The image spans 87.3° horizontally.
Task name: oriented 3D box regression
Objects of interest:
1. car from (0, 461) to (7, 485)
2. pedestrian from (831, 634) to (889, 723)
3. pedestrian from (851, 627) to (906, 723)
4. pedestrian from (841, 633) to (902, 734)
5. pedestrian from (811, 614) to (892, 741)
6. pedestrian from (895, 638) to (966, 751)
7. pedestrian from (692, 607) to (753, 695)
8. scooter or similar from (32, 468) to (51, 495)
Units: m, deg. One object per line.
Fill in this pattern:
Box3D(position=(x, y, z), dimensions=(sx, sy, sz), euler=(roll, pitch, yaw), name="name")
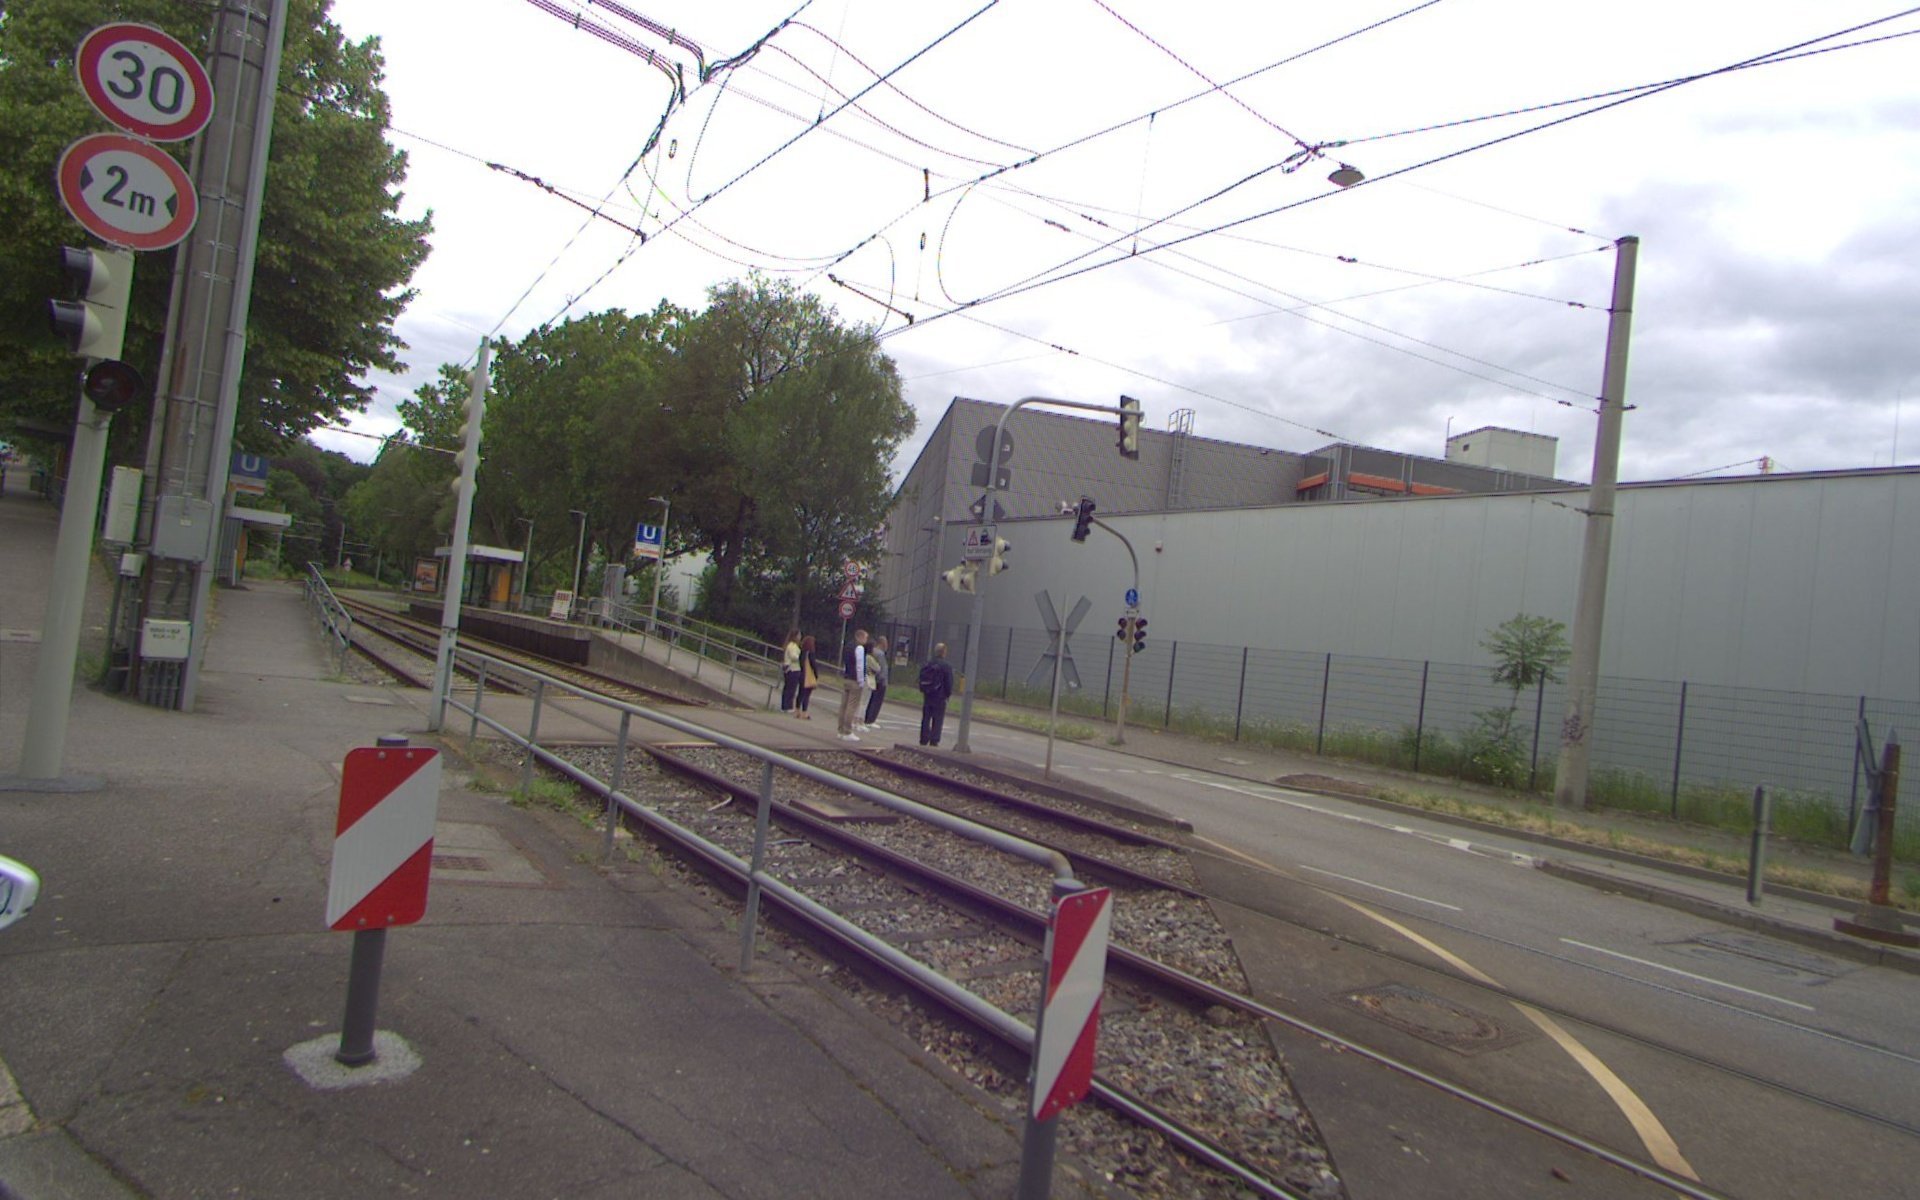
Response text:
Box3D(position=(-95.456, -12.684, 99.109), dimensions=(1.992, 2.167, 3.952), euler=(13, -6, -44), name="car")
Box3D(position=(-2.040, 1.582, 20.428), dimensions=(0.676, 1.682, 0.732), euler=(11, -5, -32), name="pedestrian")
Box3D(position=(-1.609, 1.460, 19.790), dimensions=(0.546, 1.776, 0.732), euler=(11, -4, -31), name="pedestrian")
Box3D(position=(-1.597, 1.491, 18.082), dimensions=(0.727, 1.682, 0.680), euler=(10, -4, -17), name="pedestrian")
Box3D(position=(-1.676, 1.204, 15.576), dimensions=(0.660, 1.841, 0.804), euler=(6, -2, 34), name="pedestrian")
Box3D(position=(-0.480, 1.493, 16.092), dimensions=(0.727, 1.682, 0.680), euler=(10, -4, -18), name="pedestrian")
Box3D(position=(-4.924, 1.049, 20.834), dimensions=(0.673, 1.682, 0.735), euler=(5, -5, 43), name="pedestrian")
Box3D(position=(-42.048, -5.409, 46.039), dimensions=(1.130, 1.168, 0.343), euler=(5, -5, 40), name="scooter or similar")
